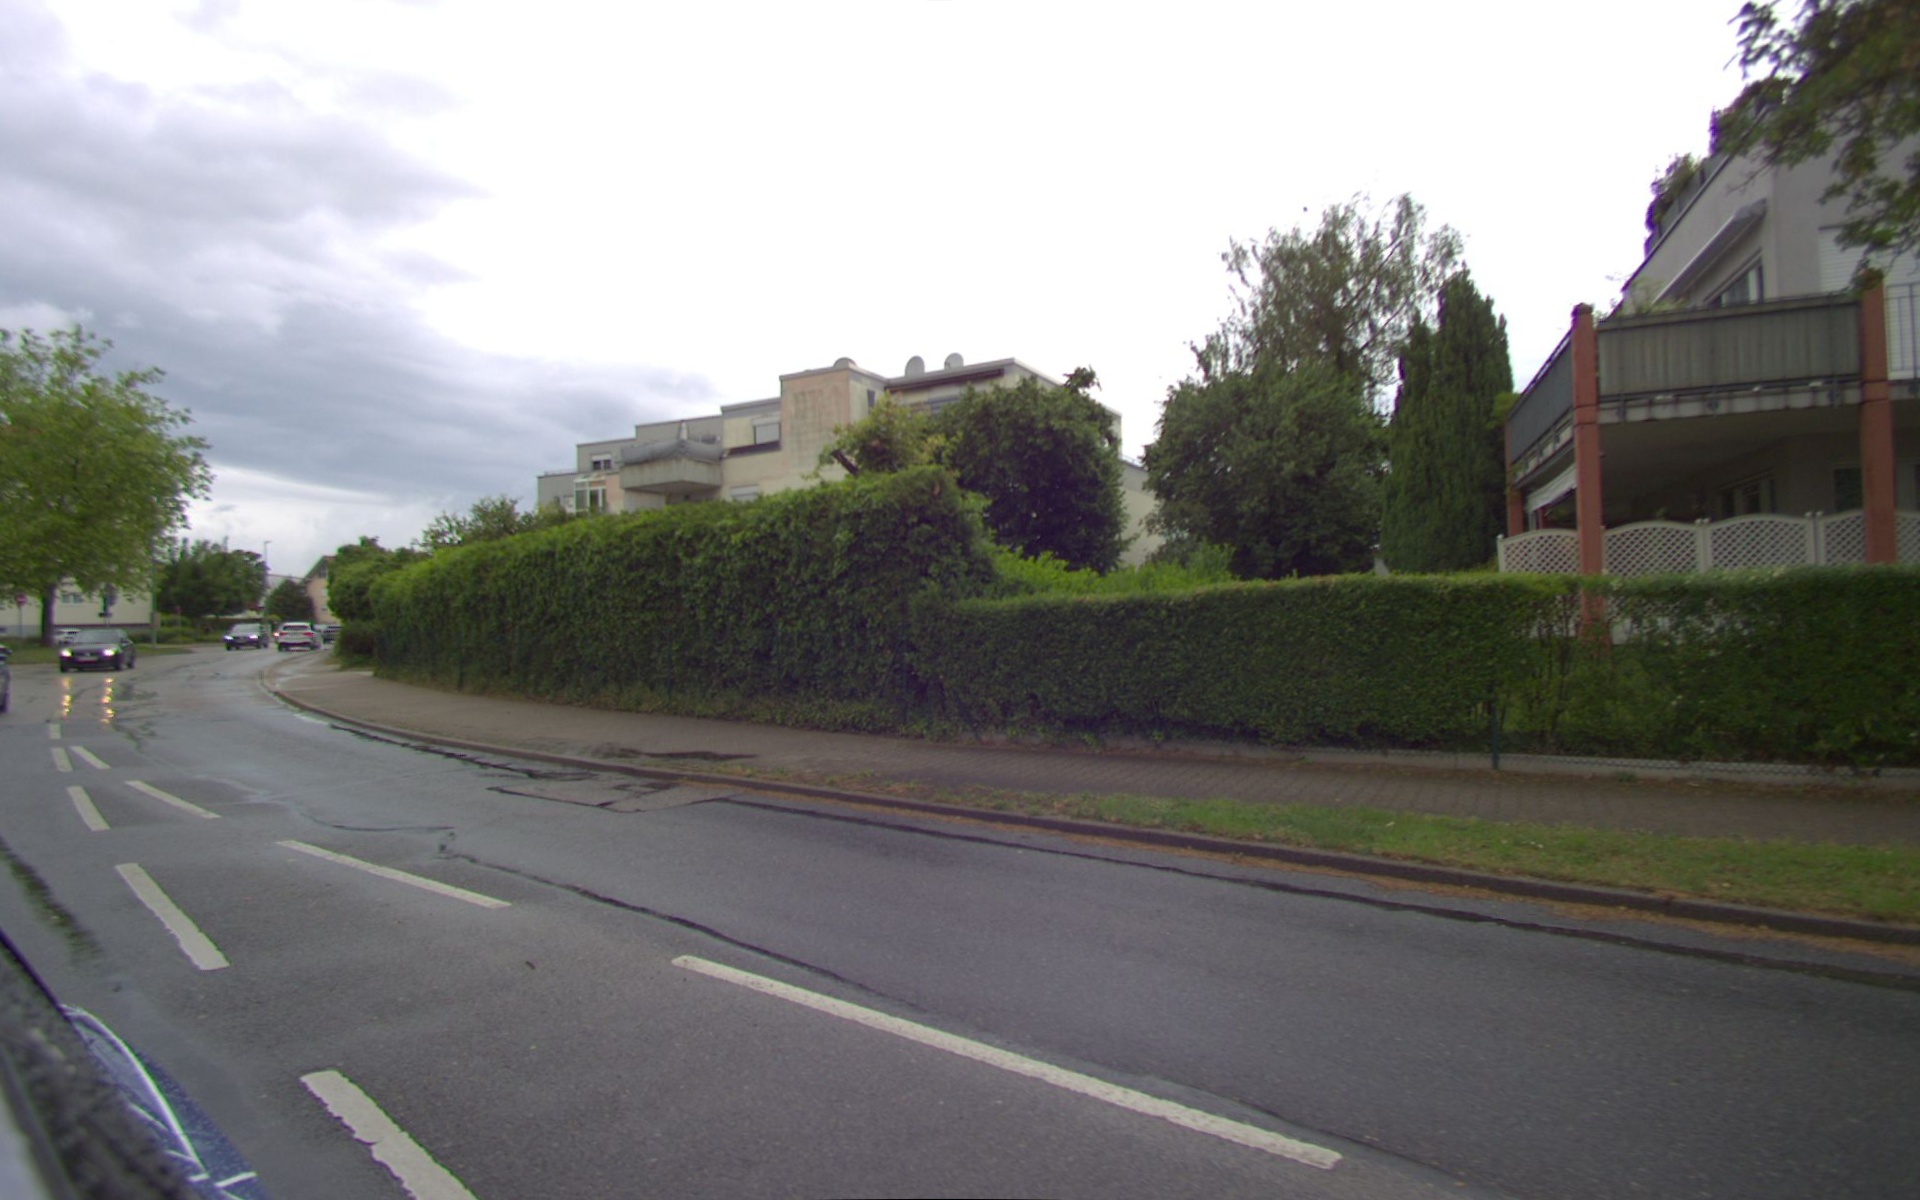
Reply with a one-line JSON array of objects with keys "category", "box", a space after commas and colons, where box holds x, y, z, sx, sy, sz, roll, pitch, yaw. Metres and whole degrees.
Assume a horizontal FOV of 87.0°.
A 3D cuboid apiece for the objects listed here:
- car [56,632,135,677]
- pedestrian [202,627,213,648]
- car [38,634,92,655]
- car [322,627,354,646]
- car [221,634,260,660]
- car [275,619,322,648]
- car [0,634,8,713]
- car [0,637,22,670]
[{"category": "car", "box": [-30.942, 1.897, 36.336, 1.811, 1.460, 4.009, -1, -1, -36]}, {"category": "pedestrian", "box": [-65.233, 3.245, 87.717, 0.670, 1.786, 0.607, -3, -1, 40]}, {"category": "car", "box": [-66.234, 3.309, 74.882, 3.750, 1.492, 1.730, -1, -2, 27]}, {"category": "car", "box": [-48.349, 2.825, 78.707, 1.716, 1.425, 4.155, -1, -1, -25]}, {"category": "car", "box": [-46.724, 3.008, 65.750, 1.811, 1.562, 4.011, -1, -1, -32]}, {"category": "car", "box": [-39.688, 2.008, 60.845, 1.864, 1.623, 4.881, -1, -1, -27]}, {"category": "car", "box": [-17.687, 1.315, 17.212, 1.884, 1.444, 4.308, 1, -2, -40]}, {"category": "car", "box": [-45.801, 2.460, 45.906, 4.510, 1.454, 1.769, 0, -2, -32]}]
